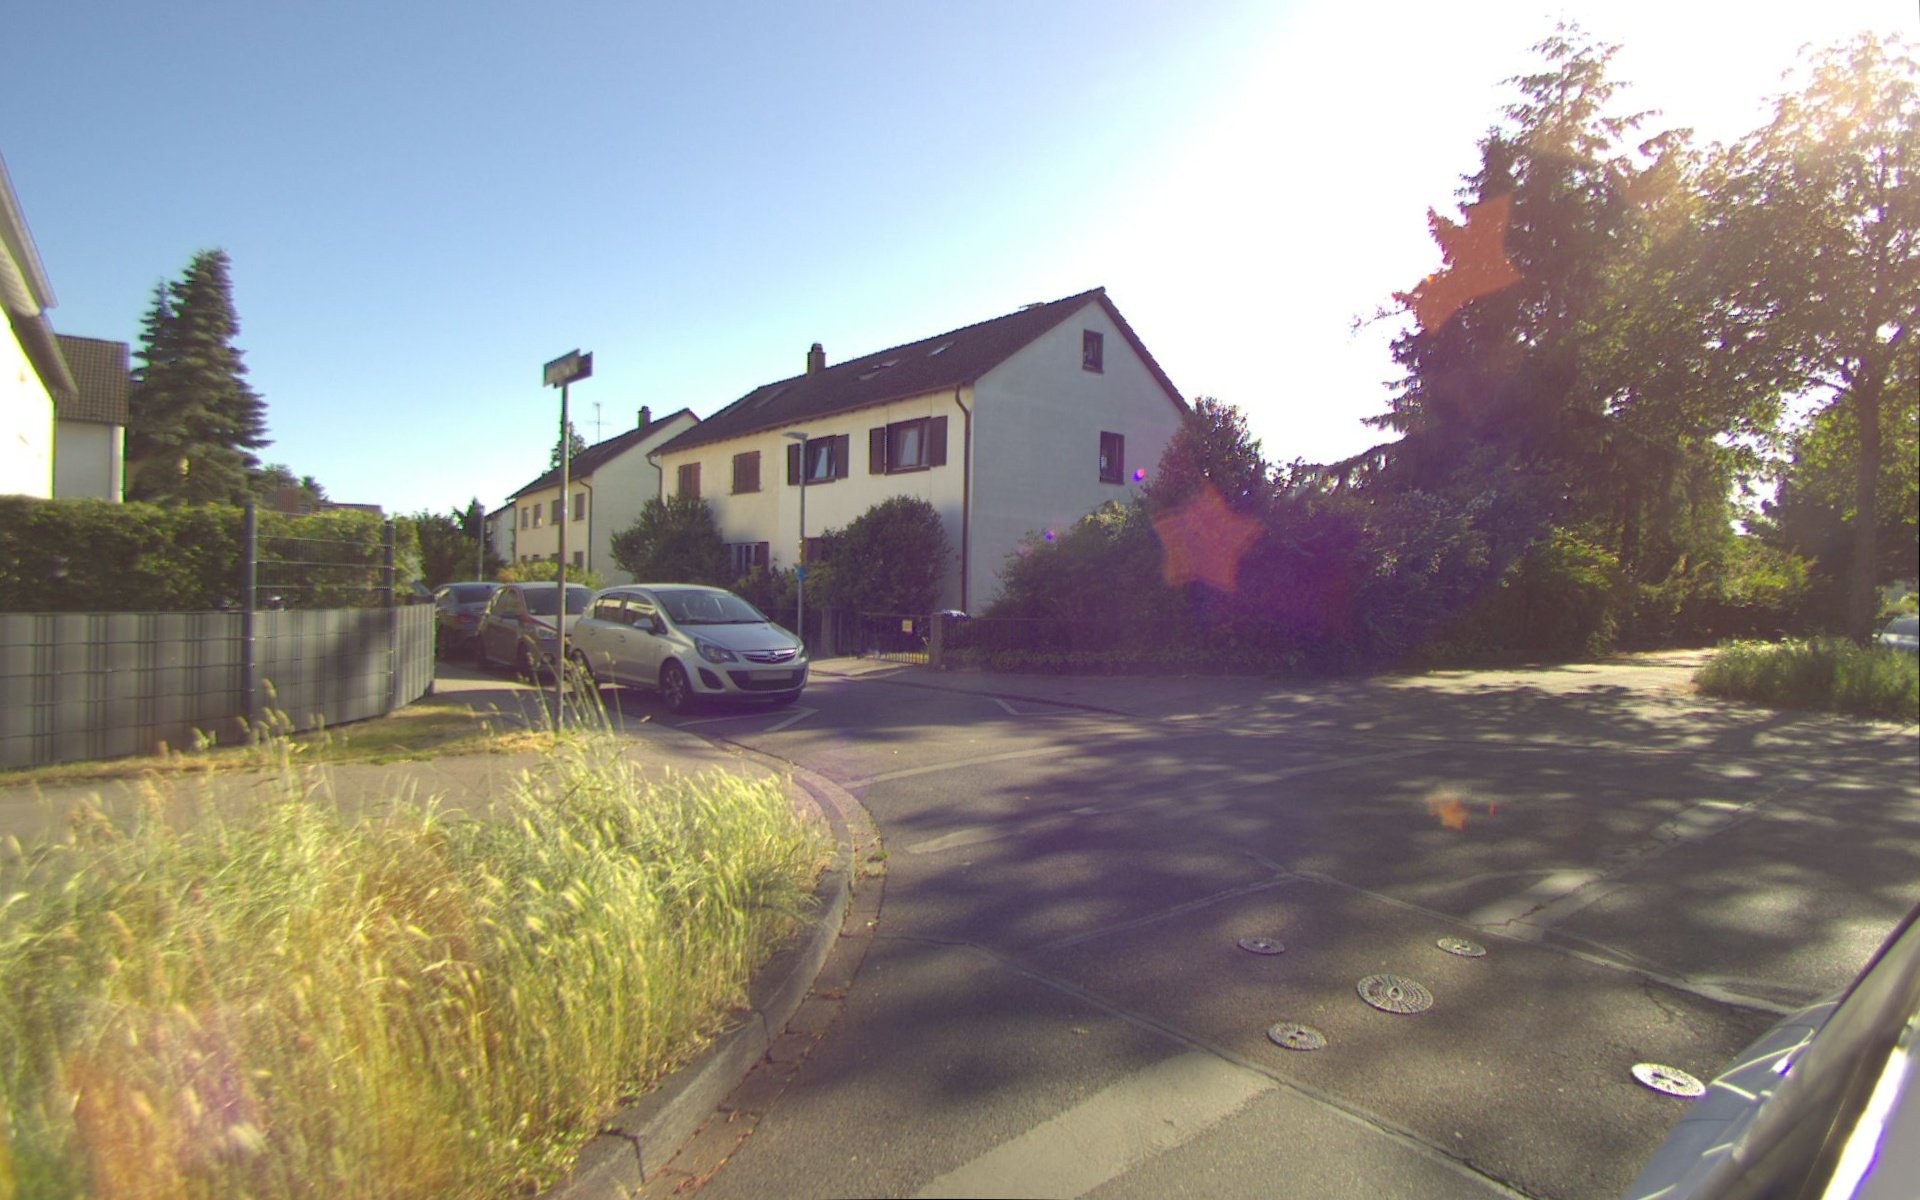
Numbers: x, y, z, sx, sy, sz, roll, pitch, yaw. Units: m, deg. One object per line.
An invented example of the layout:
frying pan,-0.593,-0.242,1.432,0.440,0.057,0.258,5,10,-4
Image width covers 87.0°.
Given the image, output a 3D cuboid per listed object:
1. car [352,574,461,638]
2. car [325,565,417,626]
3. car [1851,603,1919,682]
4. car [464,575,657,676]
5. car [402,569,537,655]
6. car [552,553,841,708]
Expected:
car,-13.750,0.101,25.056,1.619,1.476,3.690,0,1,-41
car,-16.926,-0.170,29.001,1.619,1.628,3.690,0,1,-41
car,21.172,0.890,21.802,3.923,1.529,2.001,-1,2,-33
car,-6.647,0.335,16.640,1.817,1.462,3.754,1,1,-41
car,-9.677,0.184,19.837,1.397,1.338,3.830,2,3,-41
car,-3.459,0.279,12.859,3.988,1.660,1.748,2,1,44
